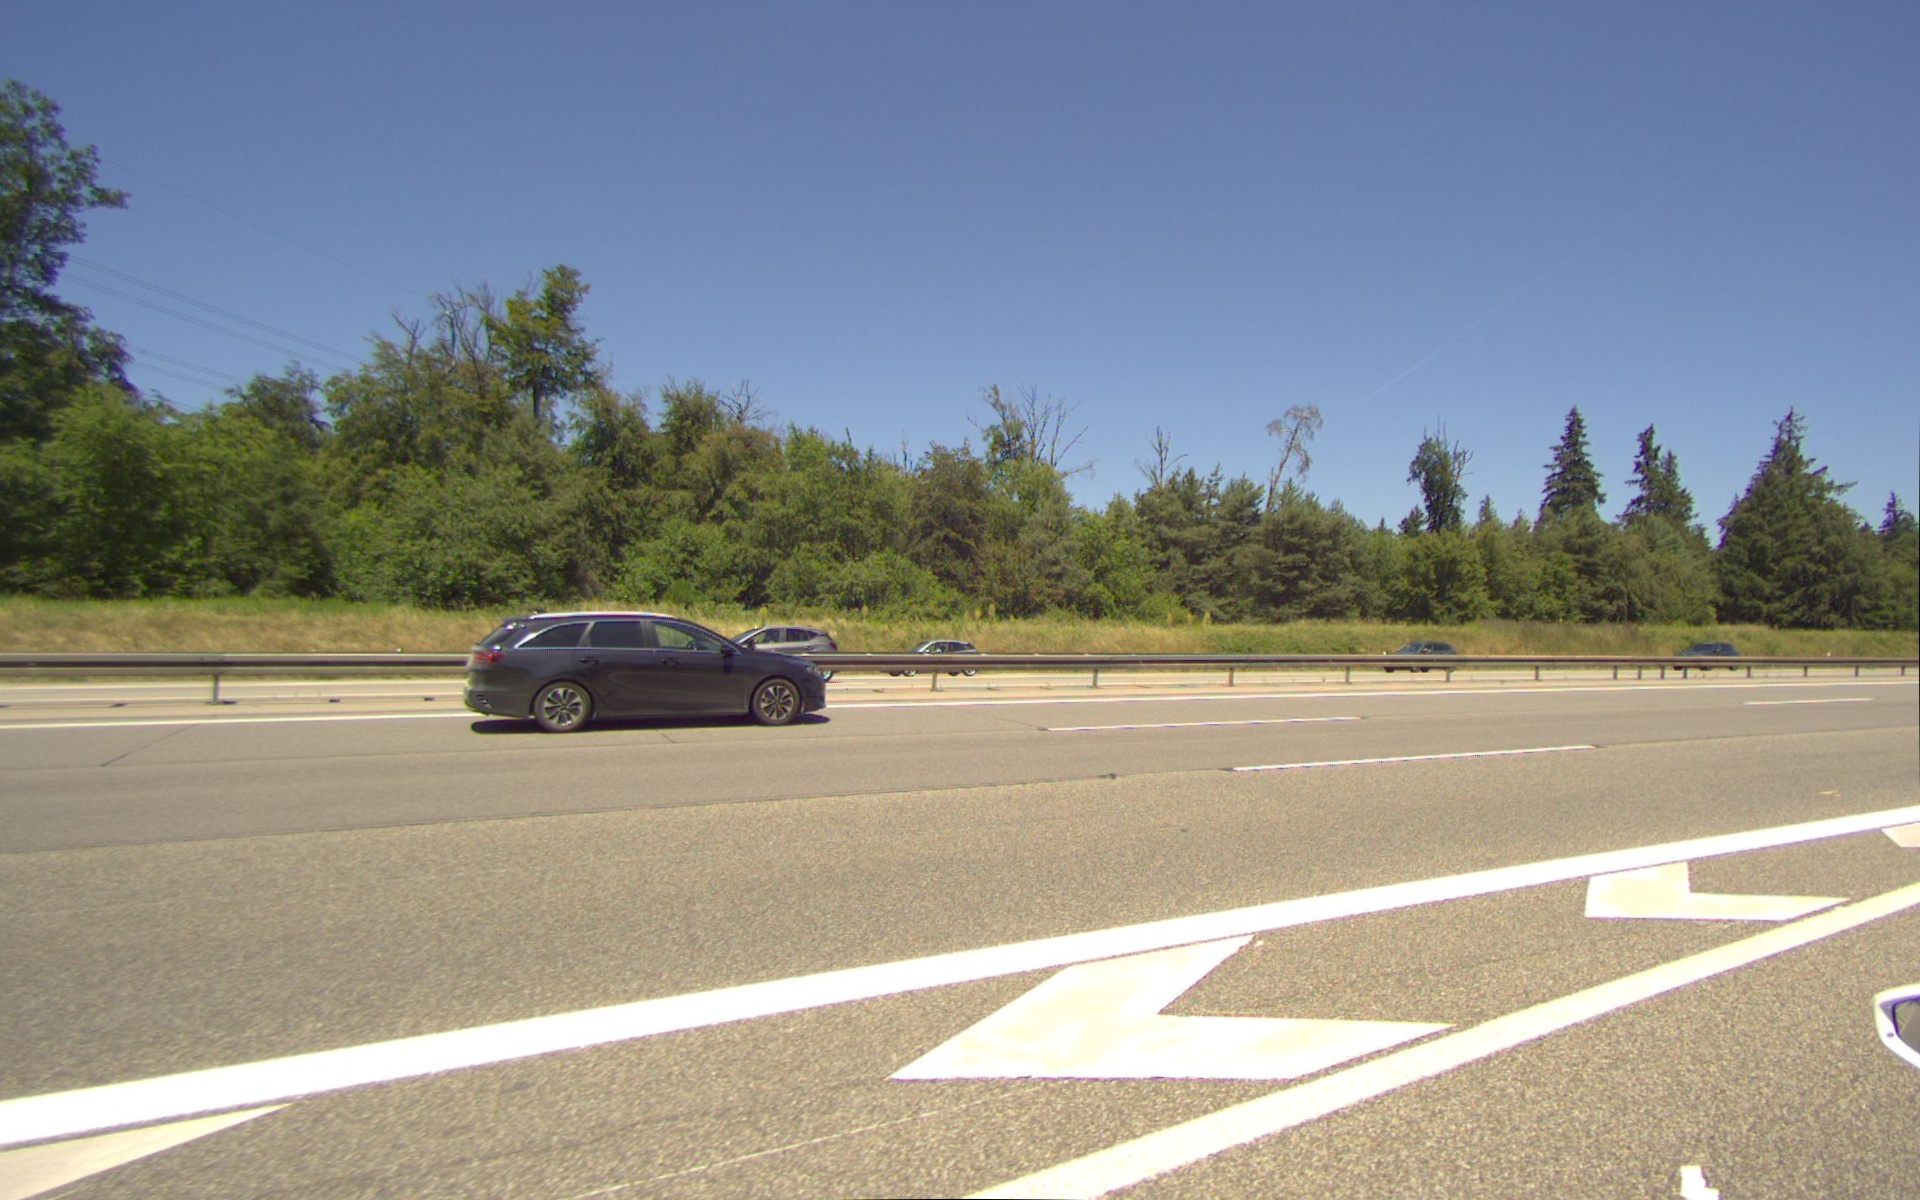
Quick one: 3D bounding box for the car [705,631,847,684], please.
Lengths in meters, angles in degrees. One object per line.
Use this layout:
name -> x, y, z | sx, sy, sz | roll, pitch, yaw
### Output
car -> -5.037, 1.565, 27.545 | 3.521, 1.374, 1.557 | 2, -2, -27

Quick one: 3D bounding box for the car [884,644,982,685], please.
car -> -1.056, 2.543, 39.812 | 3.521, 1.497, 1.615 | 2, -2, -27

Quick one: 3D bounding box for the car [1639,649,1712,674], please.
car -> 43.509, 3.746, 61.040 | 4.378, 1.439, 1.783 | 2, -1, -27

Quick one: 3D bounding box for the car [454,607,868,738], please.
car -> -3.832, 0.864, 13.134 | 4.937, 1.450, 1.825 | 1, -1, -28

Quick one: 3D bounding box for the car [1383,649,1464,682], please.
car -> 23.872, 3.362, 51.715 | 3.945, 1.547, 1.554 | 2, -1, -25
